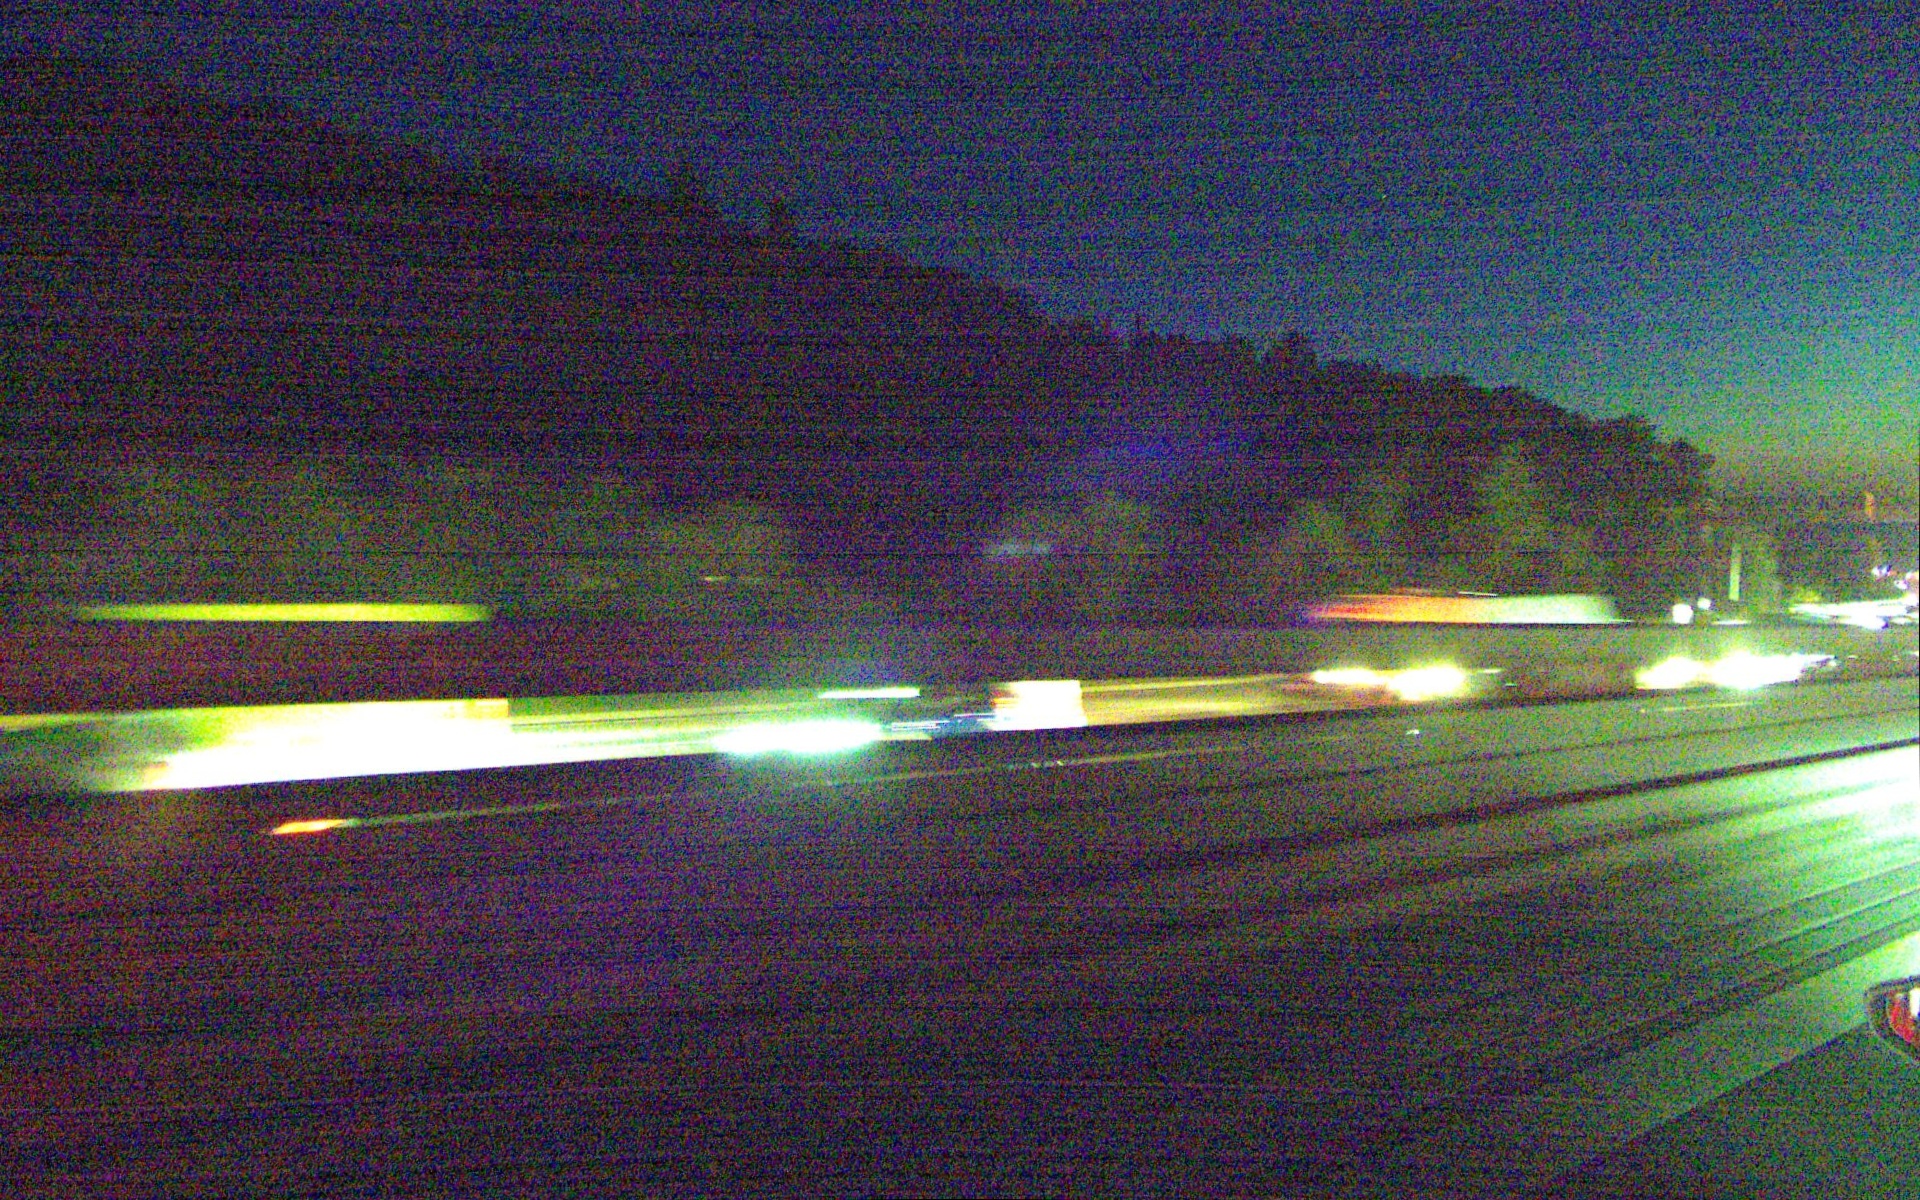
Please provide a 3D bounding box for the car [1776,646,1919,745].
[{"bbox_3d":[17.942,1.776,19.757,4.668,1.565,1.743,0,-1,-35],"label":"car"}]

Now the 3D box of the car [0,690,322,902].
[{"bbox_3d":[-8.084,1.614,8.483,4.454,1.471,1.810,1,-1,-31],"label":"car"}]

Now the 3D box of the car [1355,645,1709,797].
[{"bbox_3d":[7.010,1.324,12.193,4.454,1.471,1.824,1,-1,-31],"label":"car"}]

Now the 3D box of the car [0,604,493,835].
[{"bbox_3d":[-8.753,1.284,12.243,5.385,2.402,1.824,1,-1,-31],"label":"car"}]

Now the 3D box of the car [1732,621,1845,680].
[{"bbox_3d":[29.620,1.750,35.864,4.939,1.985,1.980,1,-2,-37],"label":"car"}]

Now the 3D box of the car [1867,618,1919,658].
[{"bbox_3d":[43.225,1.712,45.659,4.344,1.722,1.851,1,-2,-32],"label":"car"}]

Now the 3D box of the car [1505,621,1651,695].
[{"bbox_3d":[17.598,1.612,28.556,4.516,1.948,1.828,2,-2,-34],"label":"car"}]

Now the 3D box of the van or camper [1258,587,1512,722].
[{"bbox_3d":[10.115,1.198,23.654,6.421,2.797,2.430,1,-1,-34],"label":"van or camper"}]

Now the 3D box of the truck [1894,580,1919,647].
[{"bbox_3d":[50.545,0.732,51.834,7.656,3.303,2.357,1,-2,-39],"label":"truck"}]

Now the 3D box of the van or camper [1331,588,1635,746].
[{"bbox_3d":[10.245,1.181,19.431,6.613,2.629,2.243,1,-2,-33],"label":"van or camper"}]

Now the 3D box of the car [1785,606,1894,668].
[{"bbox_3d":[34.325,1.389,39.191,4.516,2.297,2.118,0,-1,-34],"label":"car"}]

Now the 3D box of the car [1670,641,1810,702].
[{"bbox_3d":[20.209,1.804,26.007,3.800,1.472,1.738,2,-2,-33],"label":"car"}]

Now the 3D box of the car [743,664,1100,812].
[{"bbox_3d":[-0.442,1.698,13.368,4.454,1.535,1.810,1,-1,-31],"label":"car"}]

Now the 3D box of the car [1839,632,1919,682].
[{"bbox_3d":[30.408,1.811,32.642,4.027,1.499,1.598,1,-2,-31],"label":"car"}]

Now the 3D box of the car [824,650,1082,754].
[{"bbox_3d":[-0.073,1.773,18.463,4.454,1.631,1.824,1,-1,-31],"label":"car"}]

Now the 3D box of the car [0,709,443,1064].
[{"bbox_3d":[-5.330,1.478,5.381,4.454,1.471,1.810,1,-1,-31],"label":"car"}]
